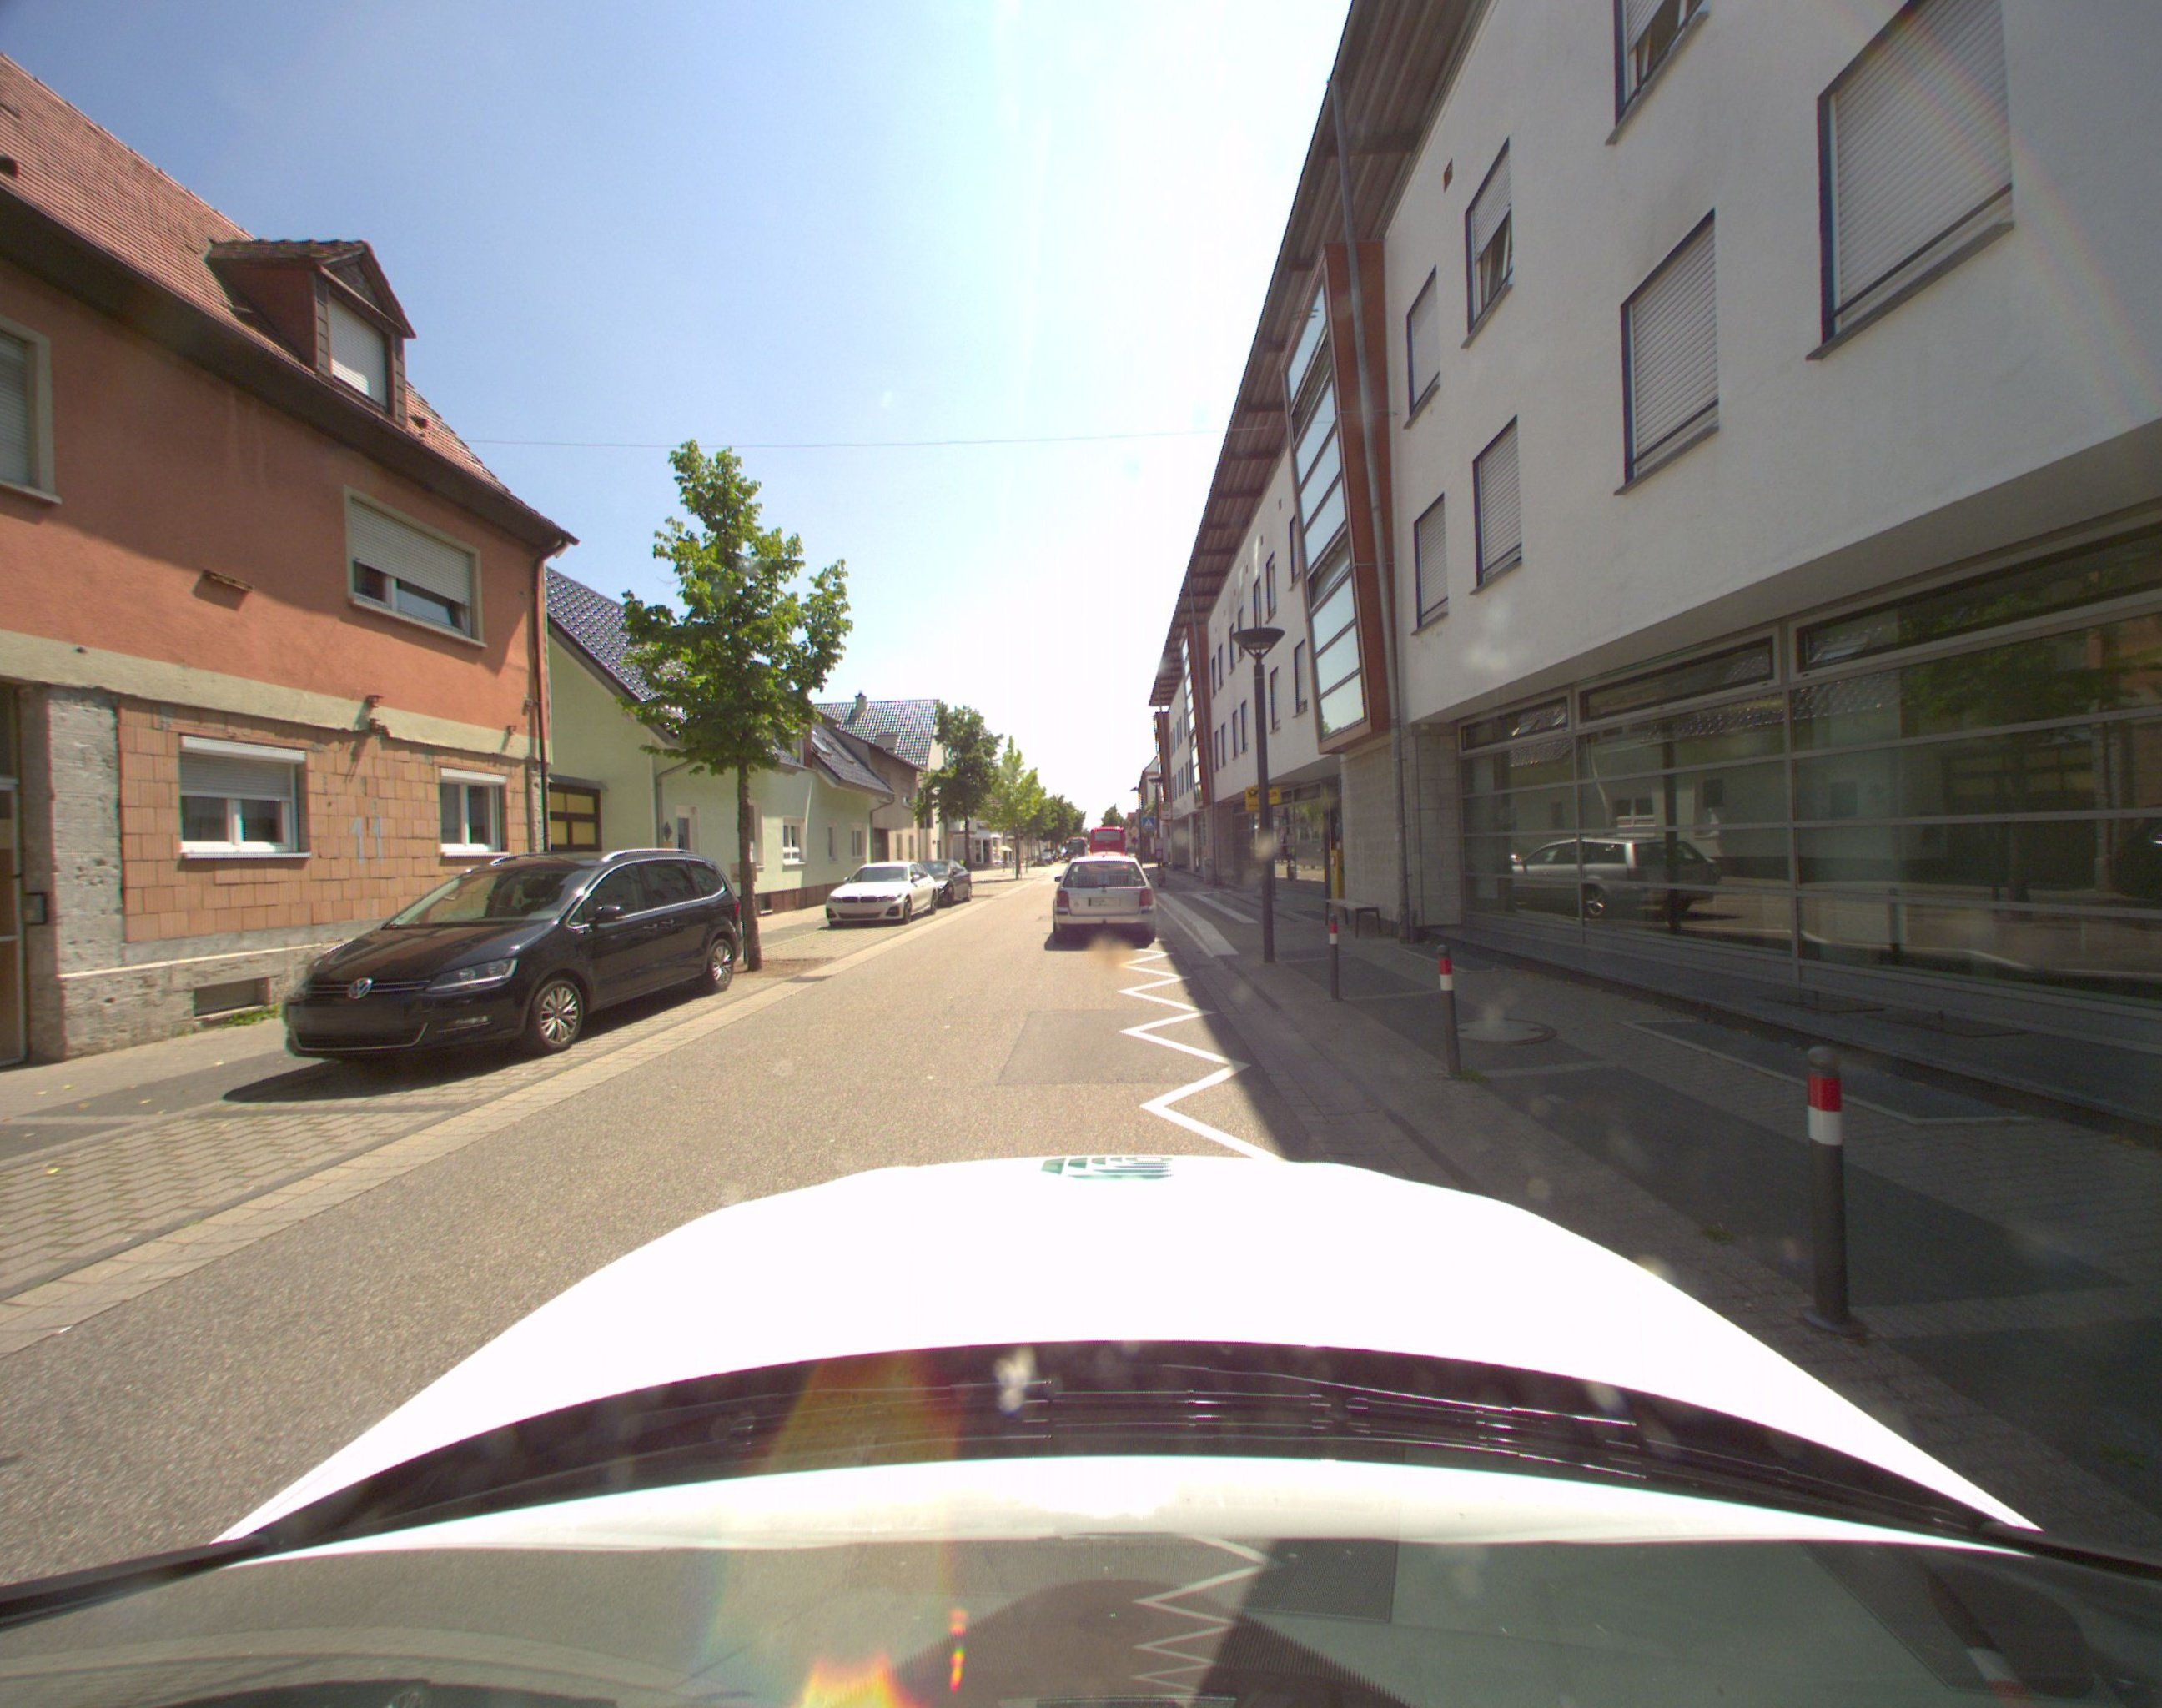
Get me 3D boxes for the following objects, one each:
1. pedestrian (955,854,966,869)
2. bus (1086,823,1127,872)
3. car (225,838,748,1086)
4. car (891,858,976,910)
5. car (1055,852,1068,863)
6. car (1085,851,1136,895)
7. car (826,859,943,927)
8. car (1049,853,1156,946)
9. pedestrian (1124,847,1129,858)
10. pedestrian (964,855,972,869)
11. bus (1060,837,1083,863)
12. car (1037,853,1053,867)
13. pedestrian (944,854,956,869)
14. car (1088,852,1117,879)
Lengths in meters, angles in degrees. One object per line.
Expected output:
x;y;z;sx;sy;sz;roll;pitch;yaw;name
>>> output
-10.330;0.651;69.918;0.639;1.289;0.780;1;0;-42;pedestrian
1.833;-0.444;63.007;2.731;3.298;12.703;-1;0;0;bus
-5.199;0.765;8.117;1.769;1.726;4.521;-2;0;1;car
-4.581;0.888;25.899;1.654;1.437;4.541;-2;0;2;car
-3.037;0.512;127.776;1.805;1.559;4.001;-2;0;1;car
1.024;0.631;28.568;1.671;1.430;3.680;0;0;1;car
-4.754;0.882;20.334;1.714;1.437;4.461;-1;0;1;car
0.386;0.708;14.606;1.671;1.430;3.680;0;0;1;car
6.840;-0.213;122.519;0.604;1.667;0.789;-2;0;0;pedestrian
-9.897;0.709;71.295;0.620;1.179;0.696;-2;0;-3;pedestrian
-1.289;-0.641;109.295;2.661;3.123;17.802;-2;1;-1;bus
-4.192;0.681;94.719;1.599;1.438;4.066;-2;0;1;car
-11.324;0.623;70.341;0.639;1.289;0.780;1;0;-42;pedestrian
1.231;0.614;46.196;1.587;1.430;3.681;0;0;2;car
